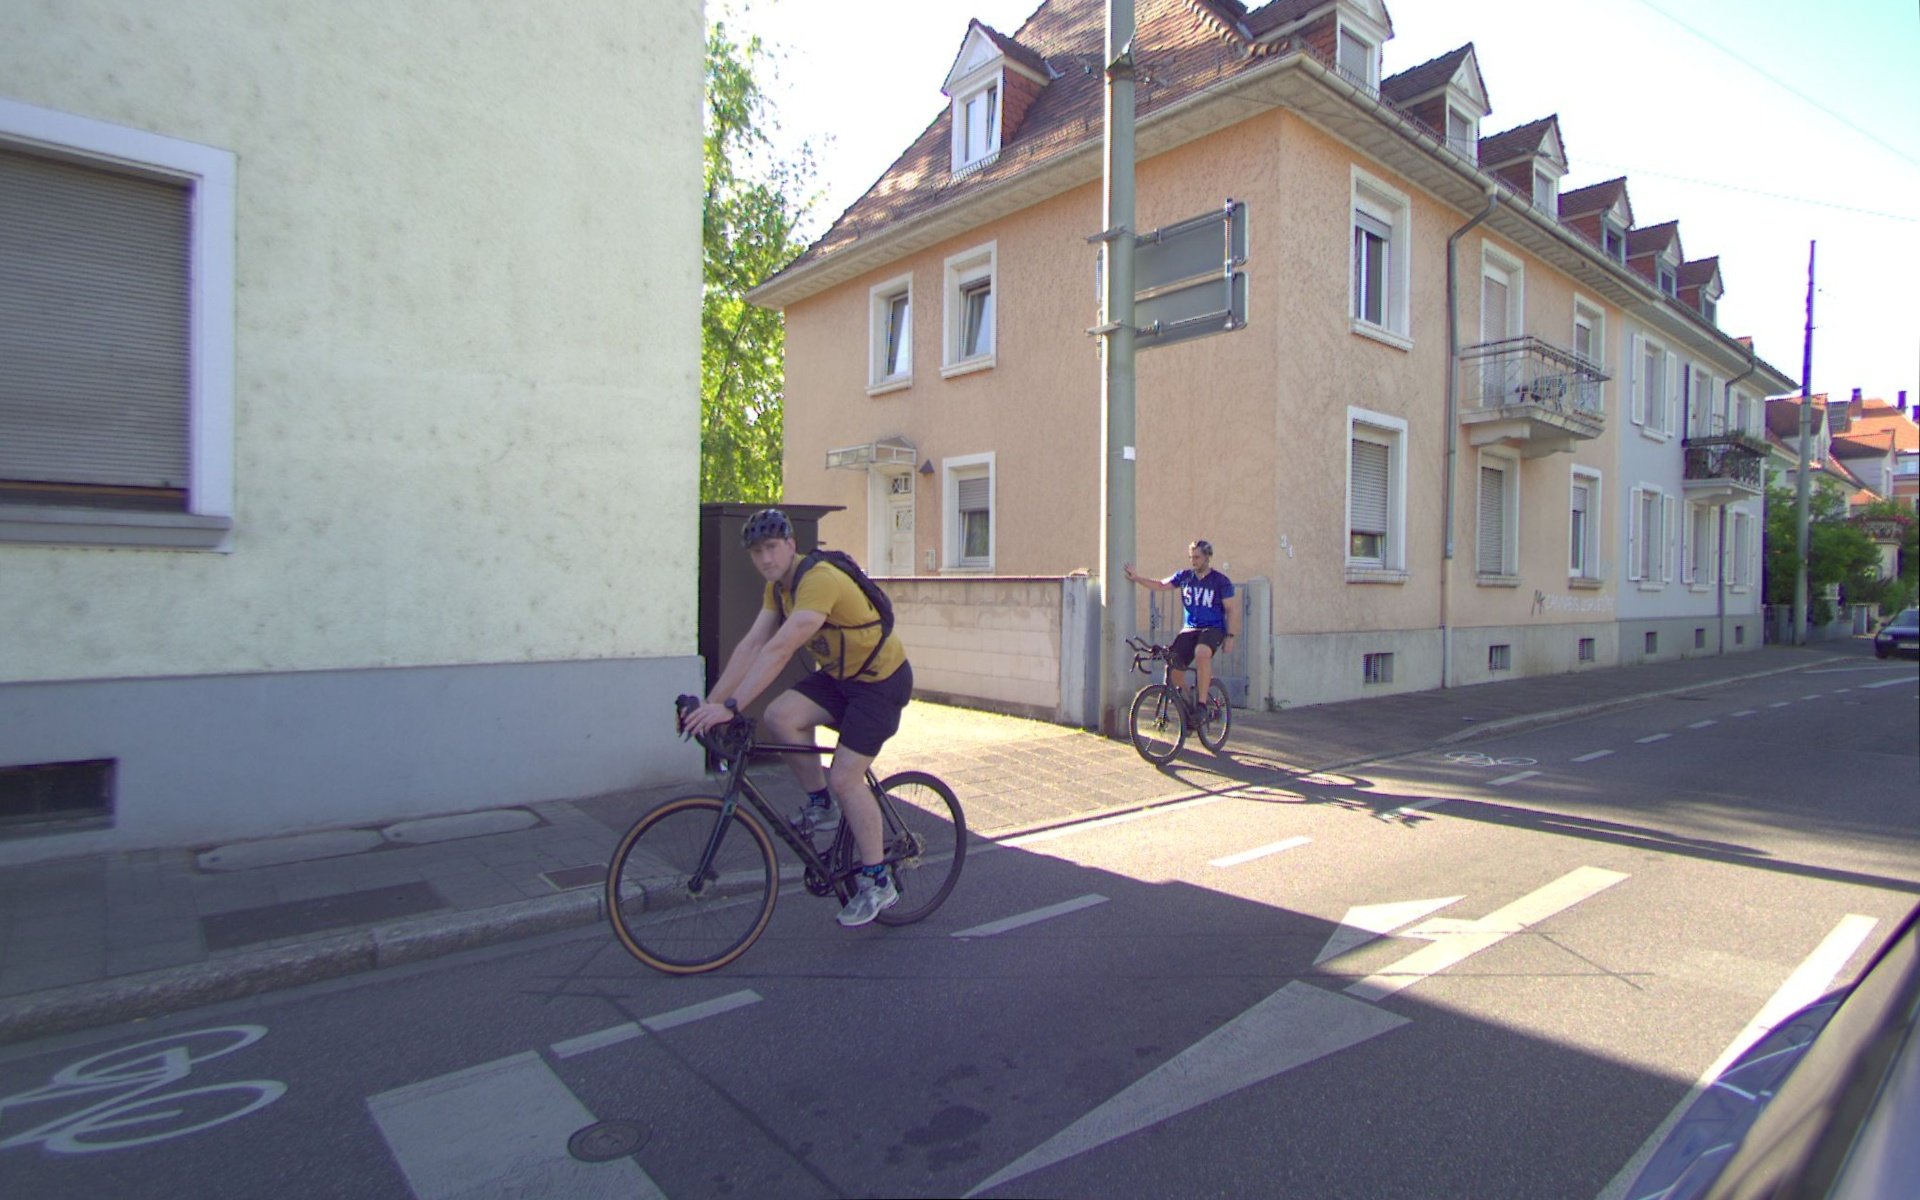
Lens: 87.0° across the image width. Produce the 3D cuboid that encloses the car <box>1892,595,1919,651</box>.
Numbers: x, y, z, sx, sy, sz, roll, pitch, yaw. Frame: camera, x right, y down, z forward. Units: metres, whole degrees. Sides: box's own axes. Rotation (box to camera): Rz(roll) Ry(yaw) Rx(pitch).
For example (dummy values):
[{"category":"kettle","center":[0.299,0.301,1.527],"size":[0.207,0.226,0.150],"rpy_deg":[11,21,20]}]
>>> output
[{"category":"car","center":[26.651,0.609,27.332],"size":[3.932,1.438,1.845],"rpy_deg":[0,1,-42]}]

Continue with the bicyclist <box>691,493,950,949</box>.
[{"category":"bicyclist","center":[-0.594,0.455,4.393],"size":[0.939,1.743,0.582],"rpy_deg":[0,1,-41]}]

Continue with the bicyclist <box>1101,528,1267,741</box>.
[{"category":"bicyclist","center":[2.032,0.266,9.249],"size":[0.838,1.758,1.072],"rpy_deg":[0,6,-40]}]

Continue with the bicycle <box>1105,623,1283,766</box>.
[{"category":"bicycle","center":[2.109,0.792,9.017],"size":[1.689,1.064,0.595],"rpy_deg":[0,6,-41]}]

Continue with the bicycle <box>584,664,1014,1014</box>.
[{"category":"bicycle","center":[-0.622,0.891,4.365],"size":[1.778,1.101,0.611],"rpy_deg":[0,1,-41]}]
